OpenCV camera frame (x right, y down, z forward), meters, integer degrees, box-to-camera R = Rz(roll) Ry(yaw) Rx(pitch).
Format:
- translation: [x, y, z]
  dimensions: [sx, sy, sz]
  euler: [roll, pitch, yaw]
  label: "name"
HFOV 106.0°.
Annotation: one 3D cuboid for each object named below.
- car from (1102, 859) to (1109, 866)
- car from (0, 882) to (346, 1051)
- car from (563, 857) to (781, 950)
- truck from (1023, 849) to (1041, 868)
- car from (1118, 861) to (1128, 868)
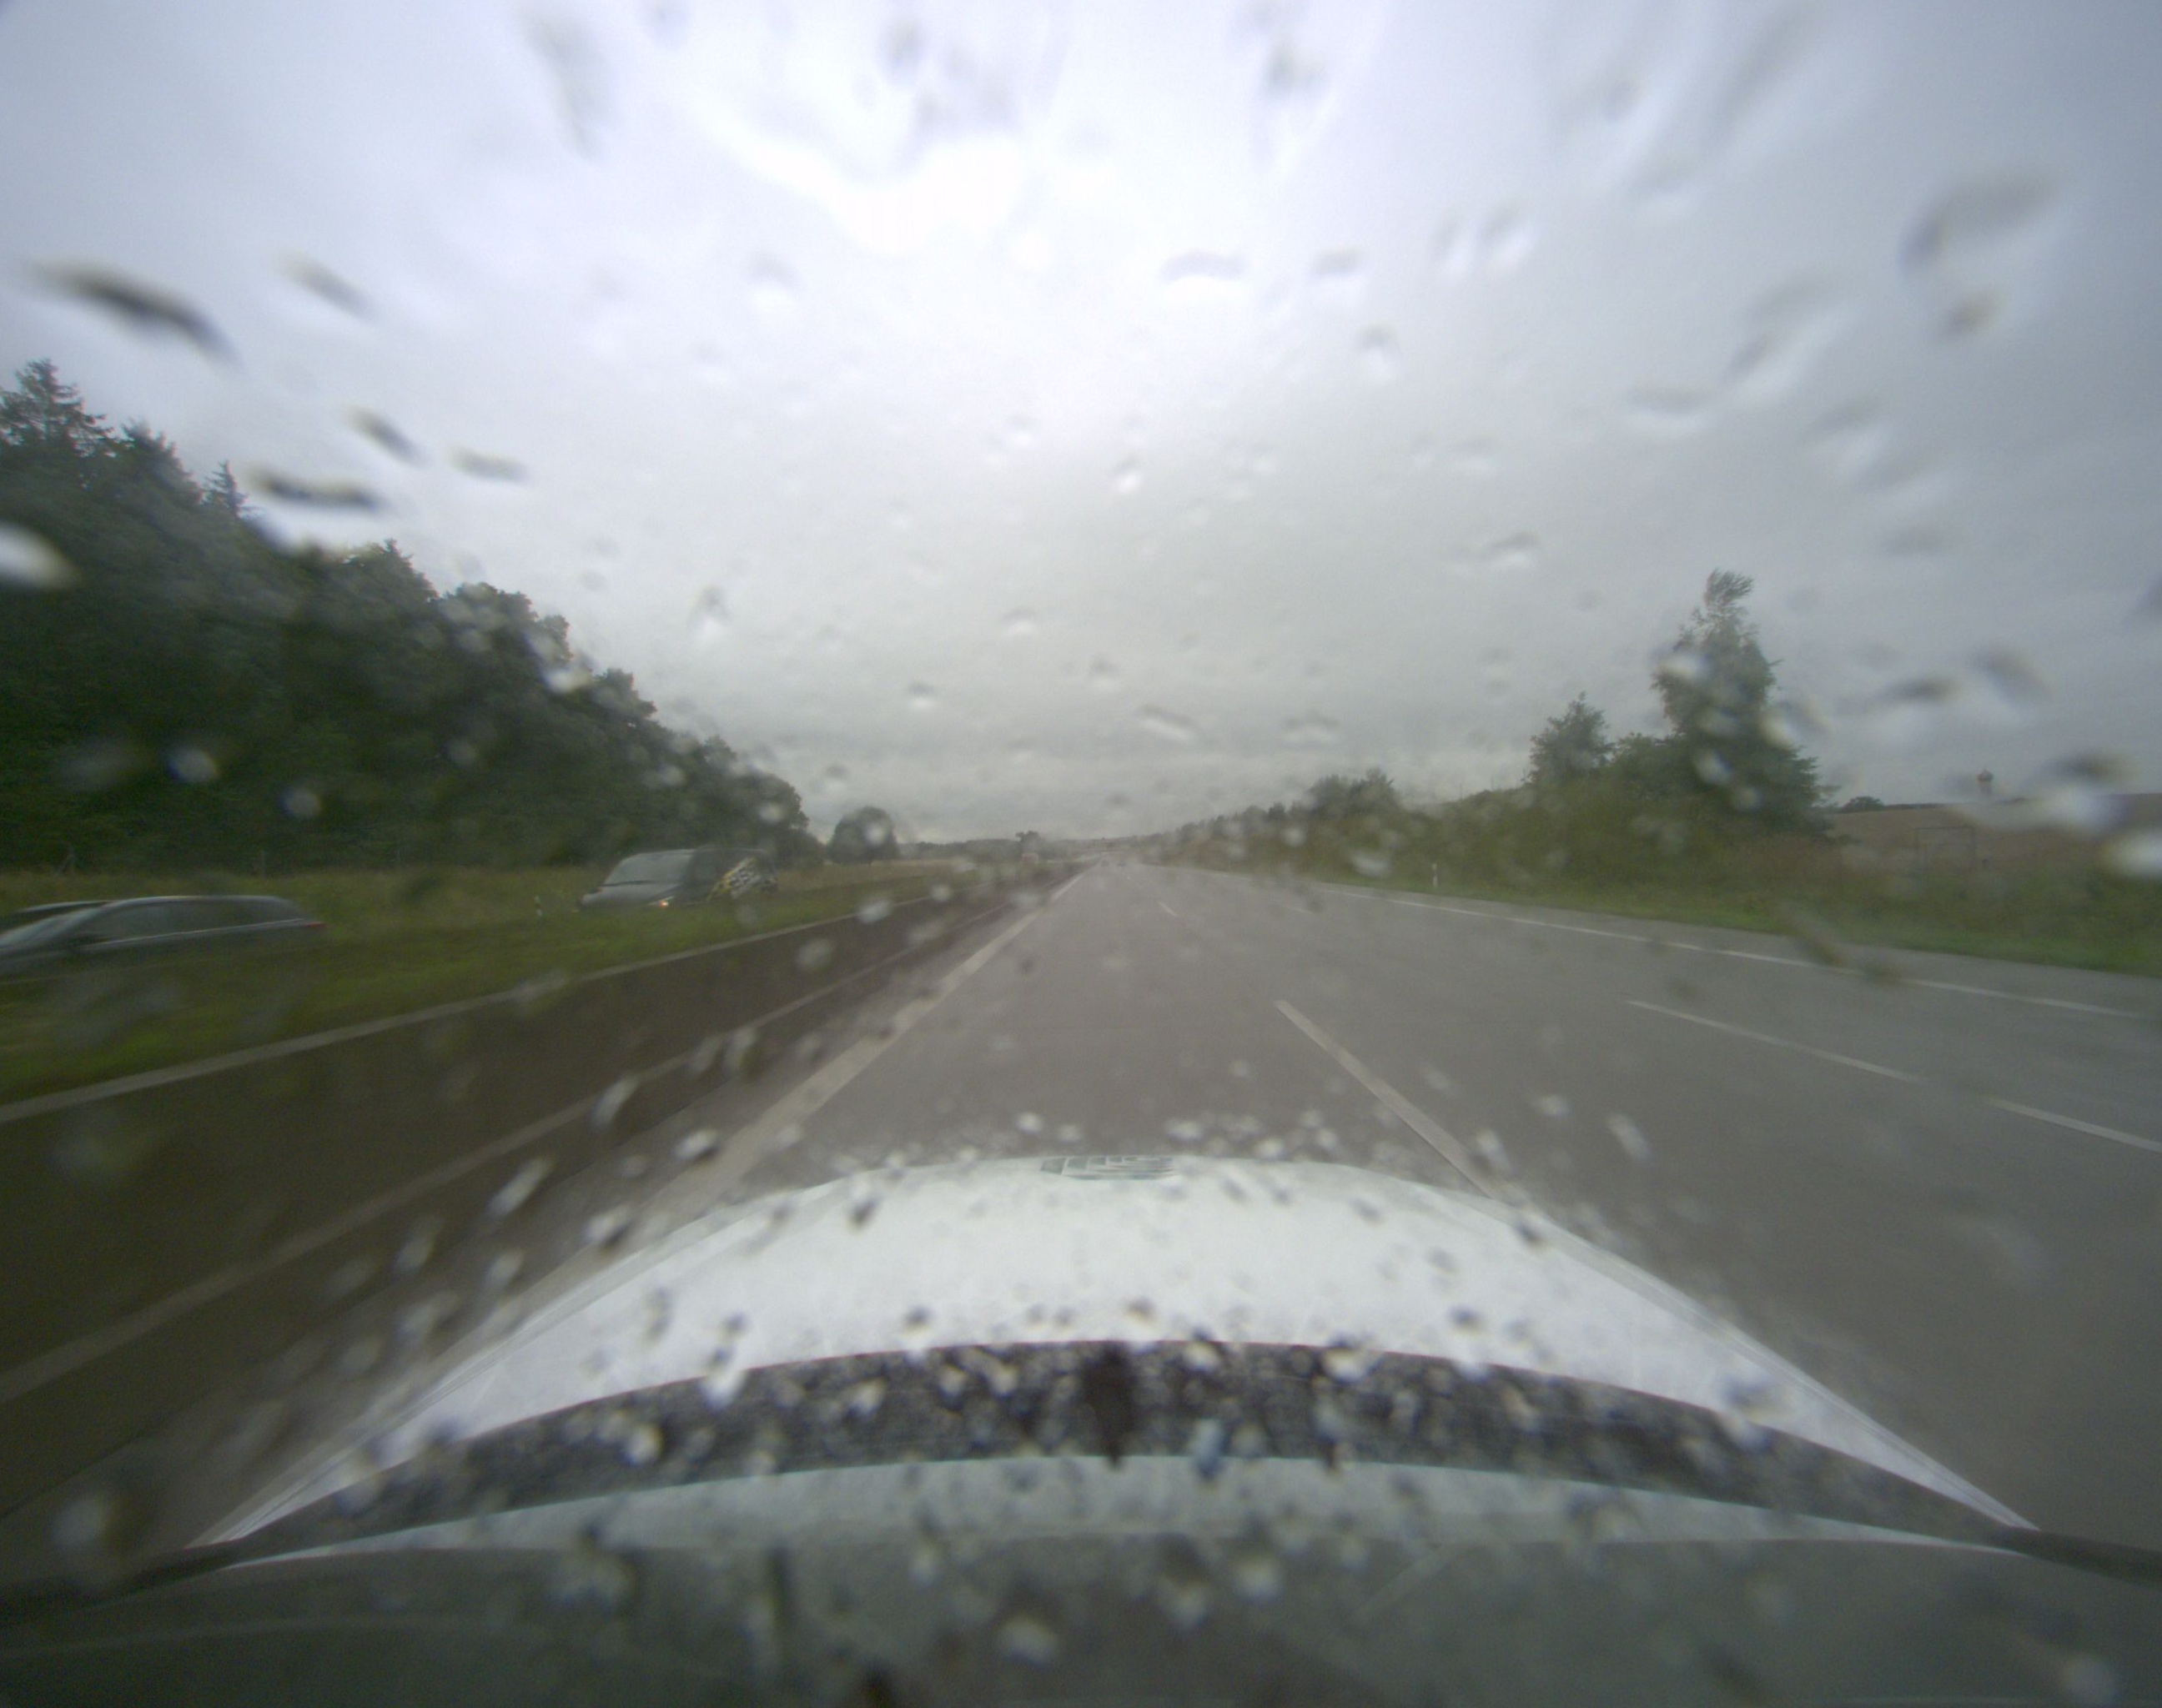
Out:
- translation: [5.536, 1.906, 183.499]
  dimensions: [1.722, 1.331, 4.432]
  euler: [-1, 1, 2]
  label: "car"
- translation: [-11.555, 1.197, 9.349]
  dimensions: [1.986, 1.543, 4.561]
  euler: [-2, 0, 1]
  label: "car"
- translation: [-7.946, 0.868, 16.430]
  dimensions: [1.986, 1.543, 4.561]
  euler: [-2, 0, 1]
  label: "car"
- translation: [-10.773, 0.923, 179.575]
  dimensions: [2.892, 3.855, 12.454]
  euler: [-2, 0, 1]
  label: "truck"
- translation: [8.692, 2.156, 169.895]
  dimensions: [1.841, 1.331, 4.429]
  euler: [-1, 1, 0]
  label: "car"
